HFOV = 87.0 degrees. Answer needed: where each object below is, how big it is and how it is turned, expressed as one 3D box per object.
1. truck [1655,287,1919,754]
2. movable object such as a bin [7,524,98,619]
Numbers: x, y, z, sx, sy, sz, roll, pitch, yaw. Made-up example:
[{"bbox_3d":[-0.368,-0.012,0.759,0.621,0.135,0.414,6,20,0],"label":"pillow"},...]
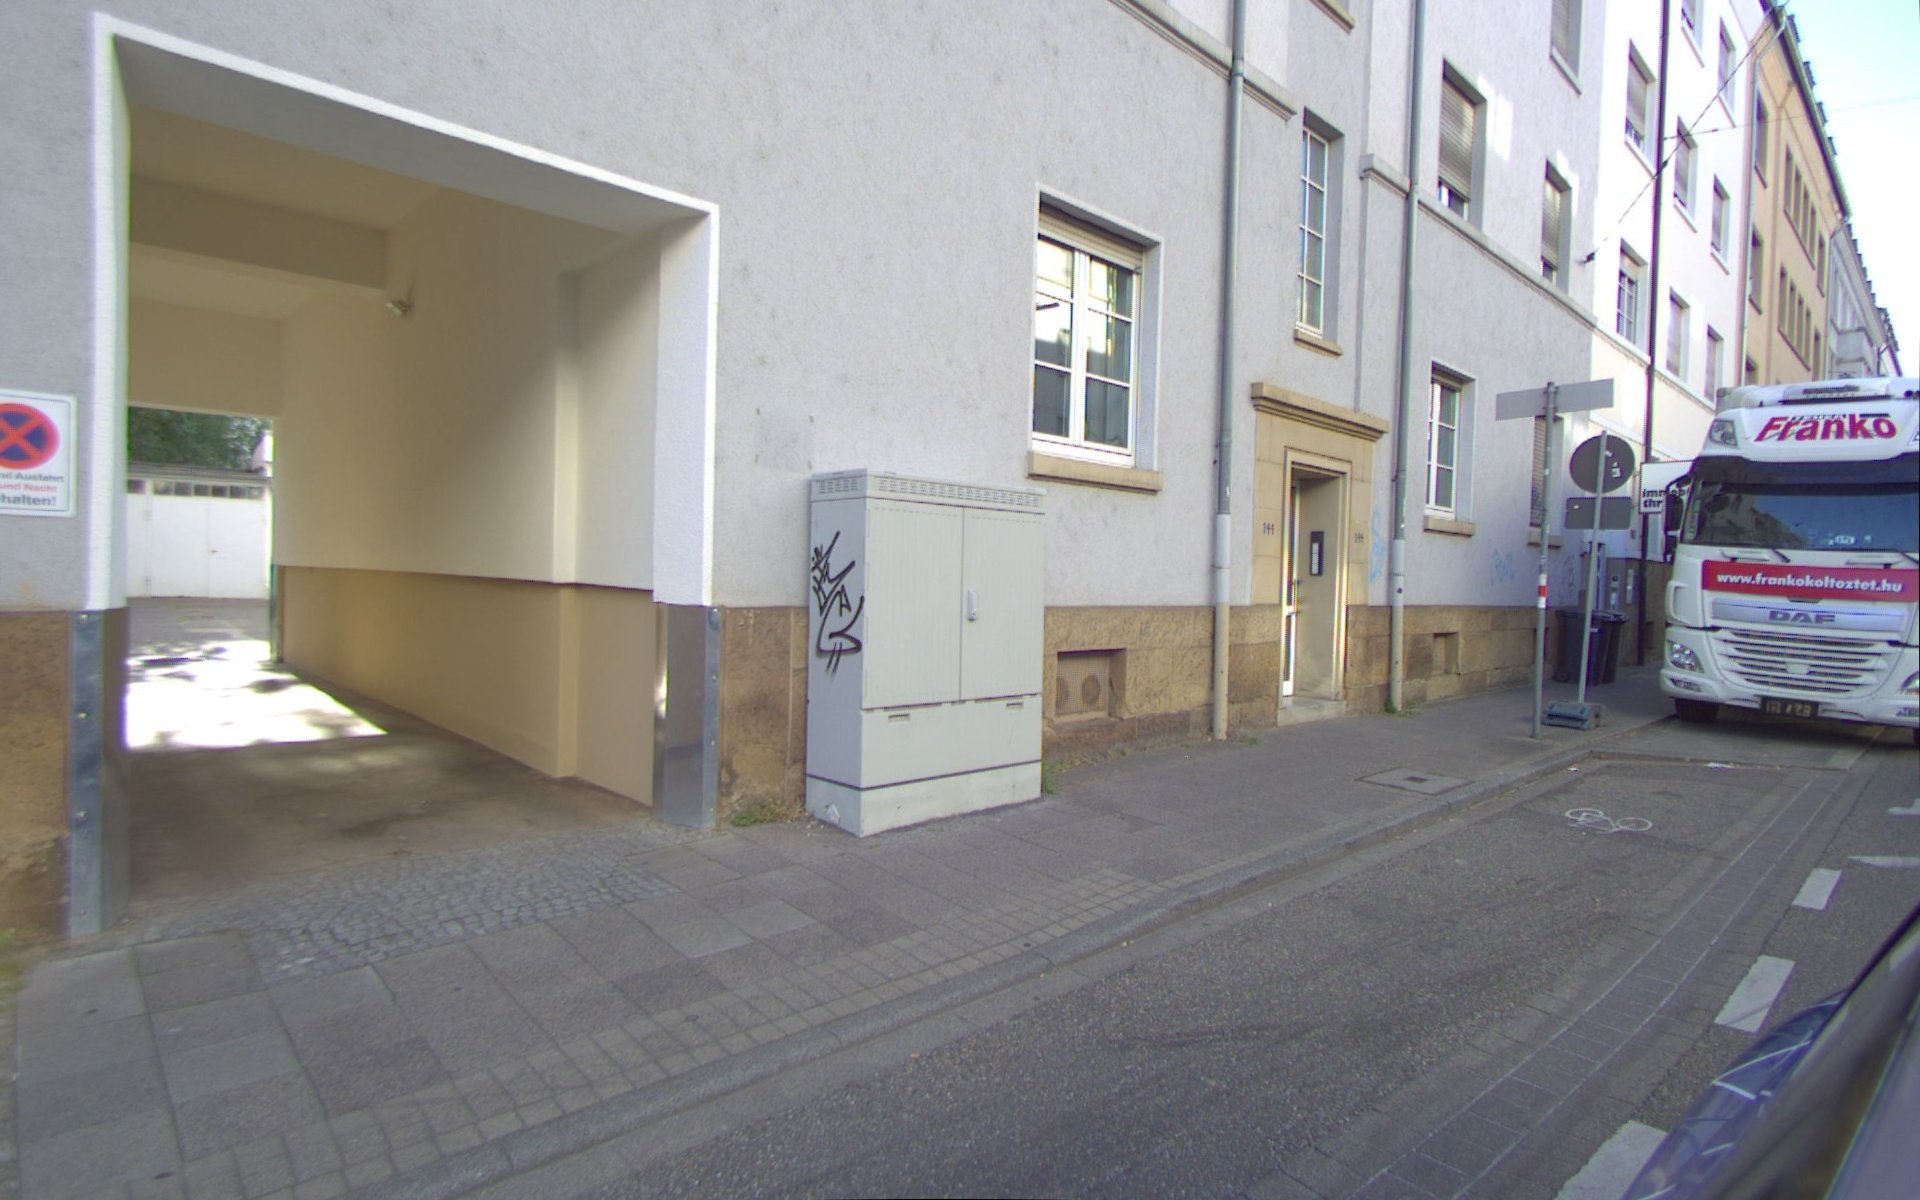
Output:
[{"bbox_3d":[12.620,-0.853,13.742,11.579,4.290,2.697,-1,3,-43],"label":"truck"},{"bbox_3d":[-15.106,-0.458,16.884,1.091,1.512,1.328,0,0,-41],"label":"movable object such as a bin"}]
